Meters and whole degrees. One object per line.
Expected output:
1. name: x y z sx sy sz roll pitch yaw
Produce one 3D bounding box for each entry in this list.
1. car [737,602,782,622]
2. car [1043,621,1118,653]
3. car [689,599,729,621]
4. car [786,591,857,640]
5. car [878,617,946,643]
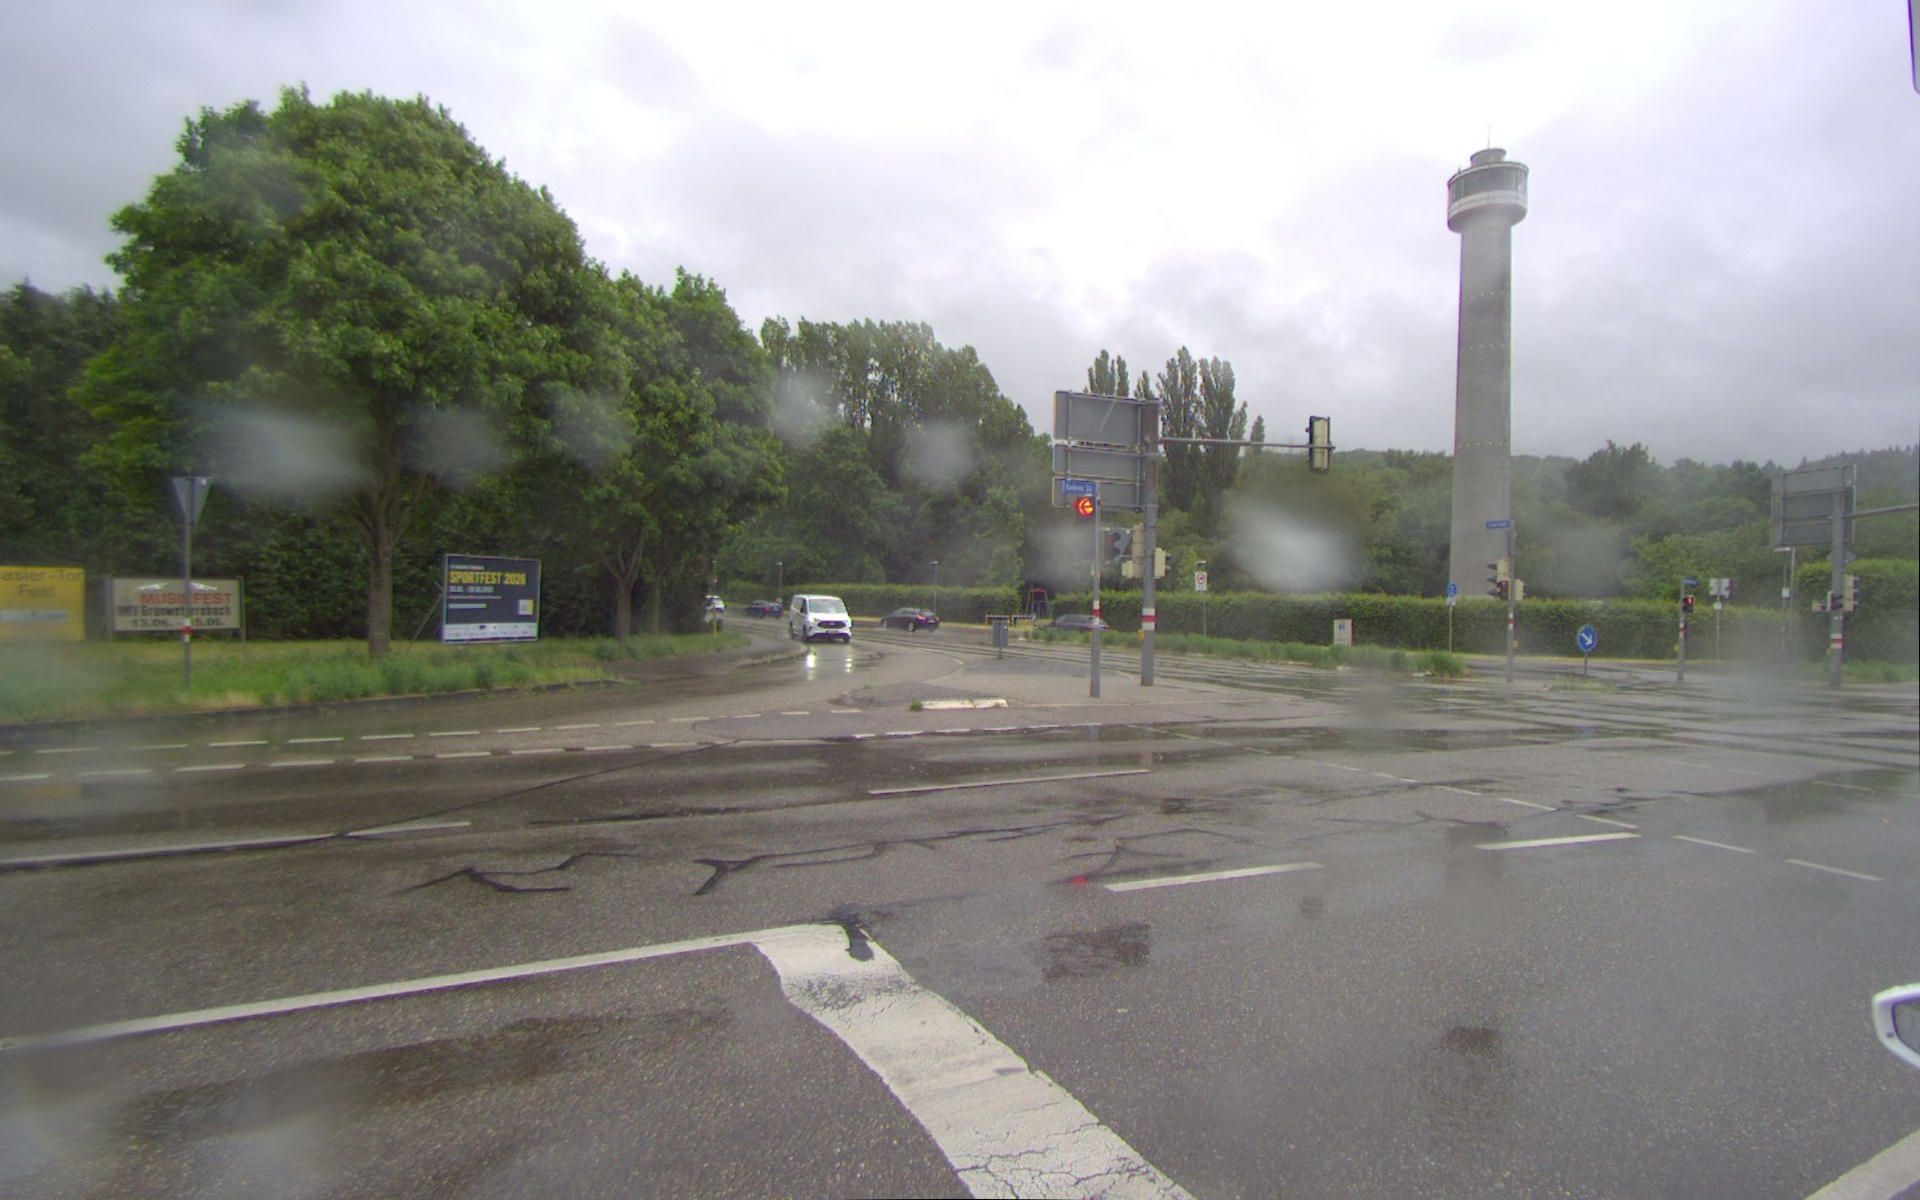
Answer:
1. car: -16.110 0.965 80.484 1.804 1.574 4.639 1 -1 -35
2. car: 6.272 1.926 52.992 1.797 1.574 4.657 1 -1 -24
3. car: -22.542 0.883 90.019 1.896 1.941 4.638 1 -1 -35
4. car: -6.170 0.736 44.300 2.085 2.040 4.730 1 -2 -21
5. car: -3.128 1.897 64.622 1.809 1.574 4.626 1 -1 -42
